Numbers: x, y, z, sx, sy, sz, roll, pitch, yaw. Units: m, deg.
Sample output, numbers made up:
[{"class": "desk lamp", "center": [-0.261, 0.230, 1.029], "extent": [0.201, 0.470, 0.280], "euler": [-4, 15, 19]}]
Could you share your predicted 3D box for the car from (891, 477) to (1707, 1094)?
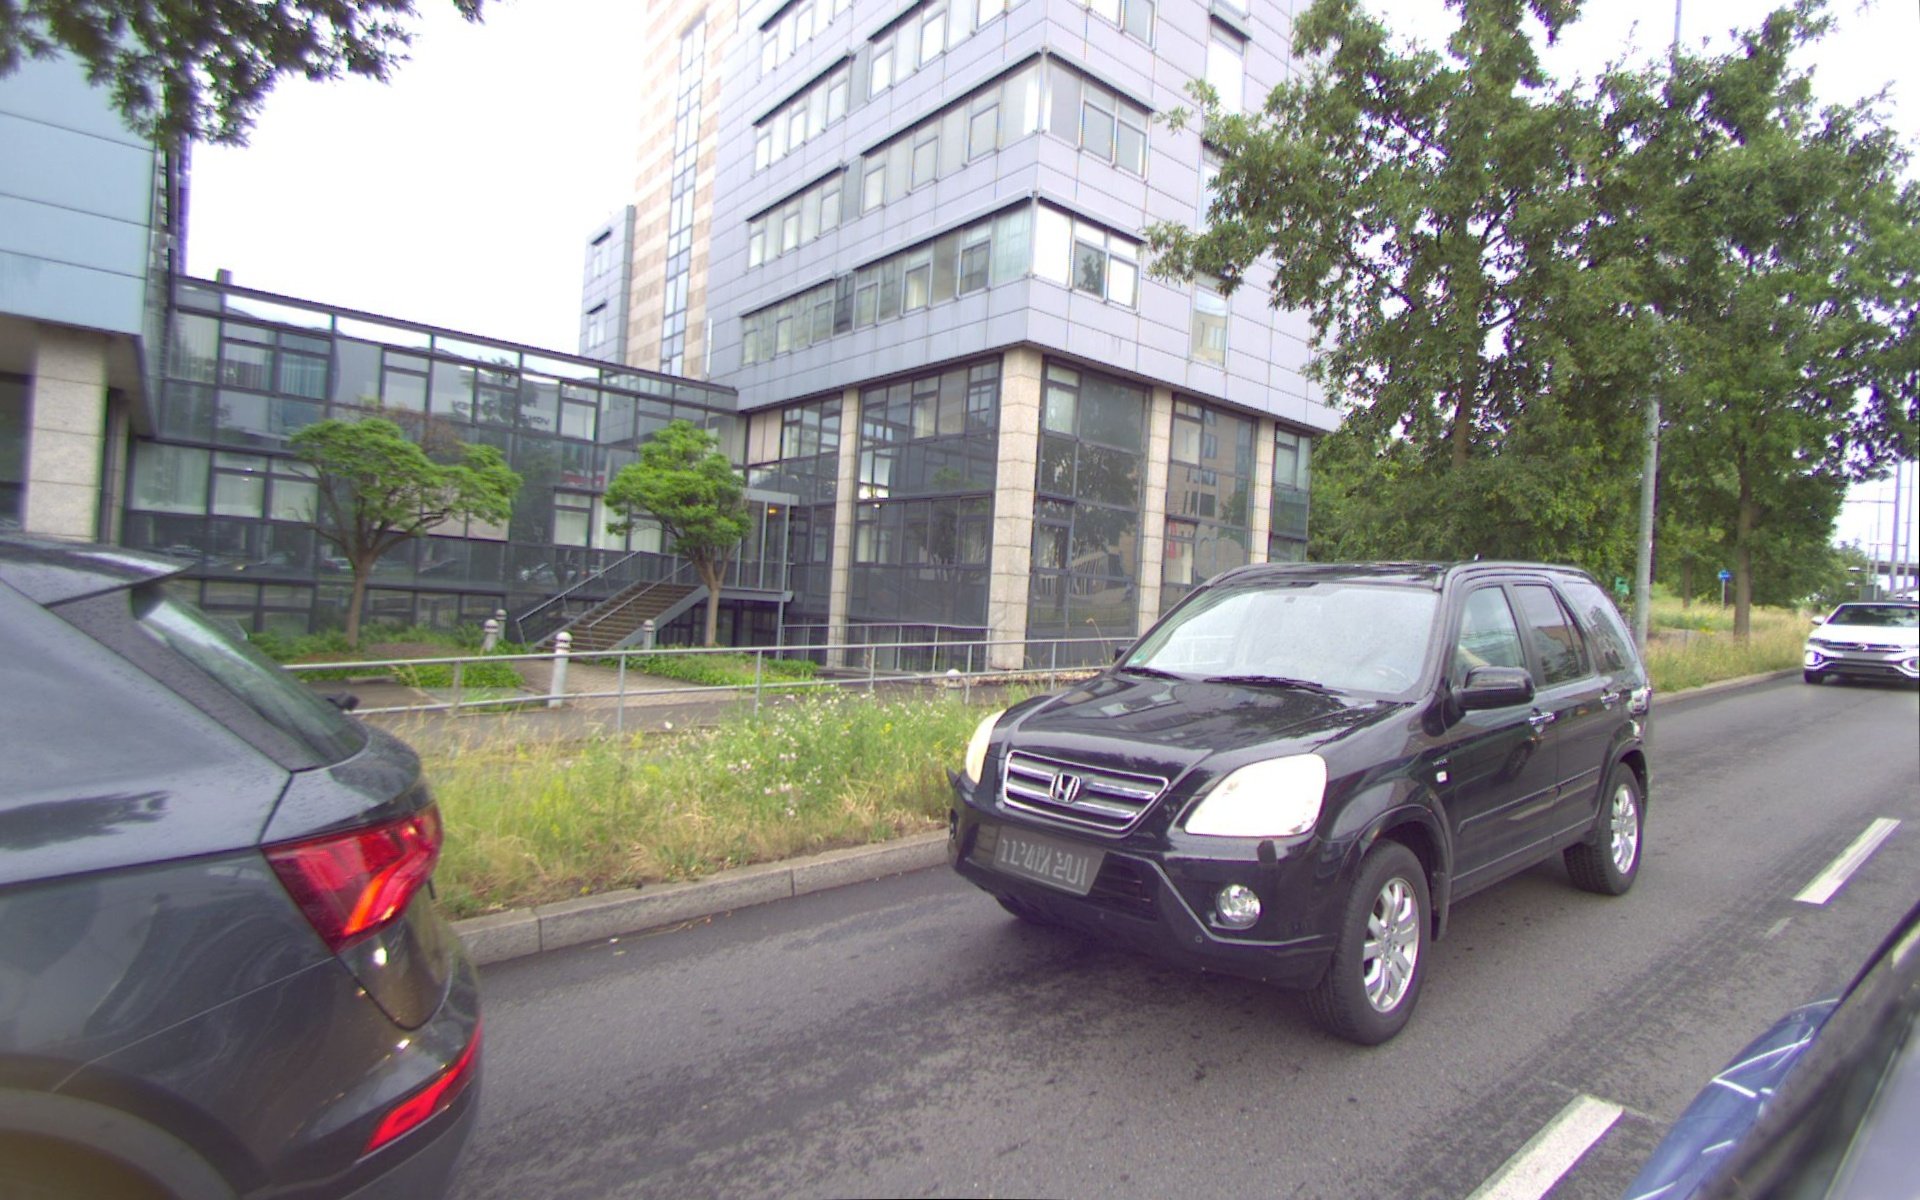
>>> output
[{"class": "car", "center": [1.903, 0.485, 4.821], "extent": [4.262, 1.679, 1.758], "euler": [0, 1, -41]}]

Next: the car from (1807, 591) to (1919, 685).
[{"class": "car", "center": [16.860, 0.627, 18.176], "extent": [3.698, 1.522, 1.828], "euler": [0, 1, -39]}]

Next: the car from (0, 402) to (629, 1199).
[{"class": "car", "center": [-2.847, 0.547, 1.072], "extent": [4.392, 1.633, 1.821], "euler": [0, 1, -41]}]
